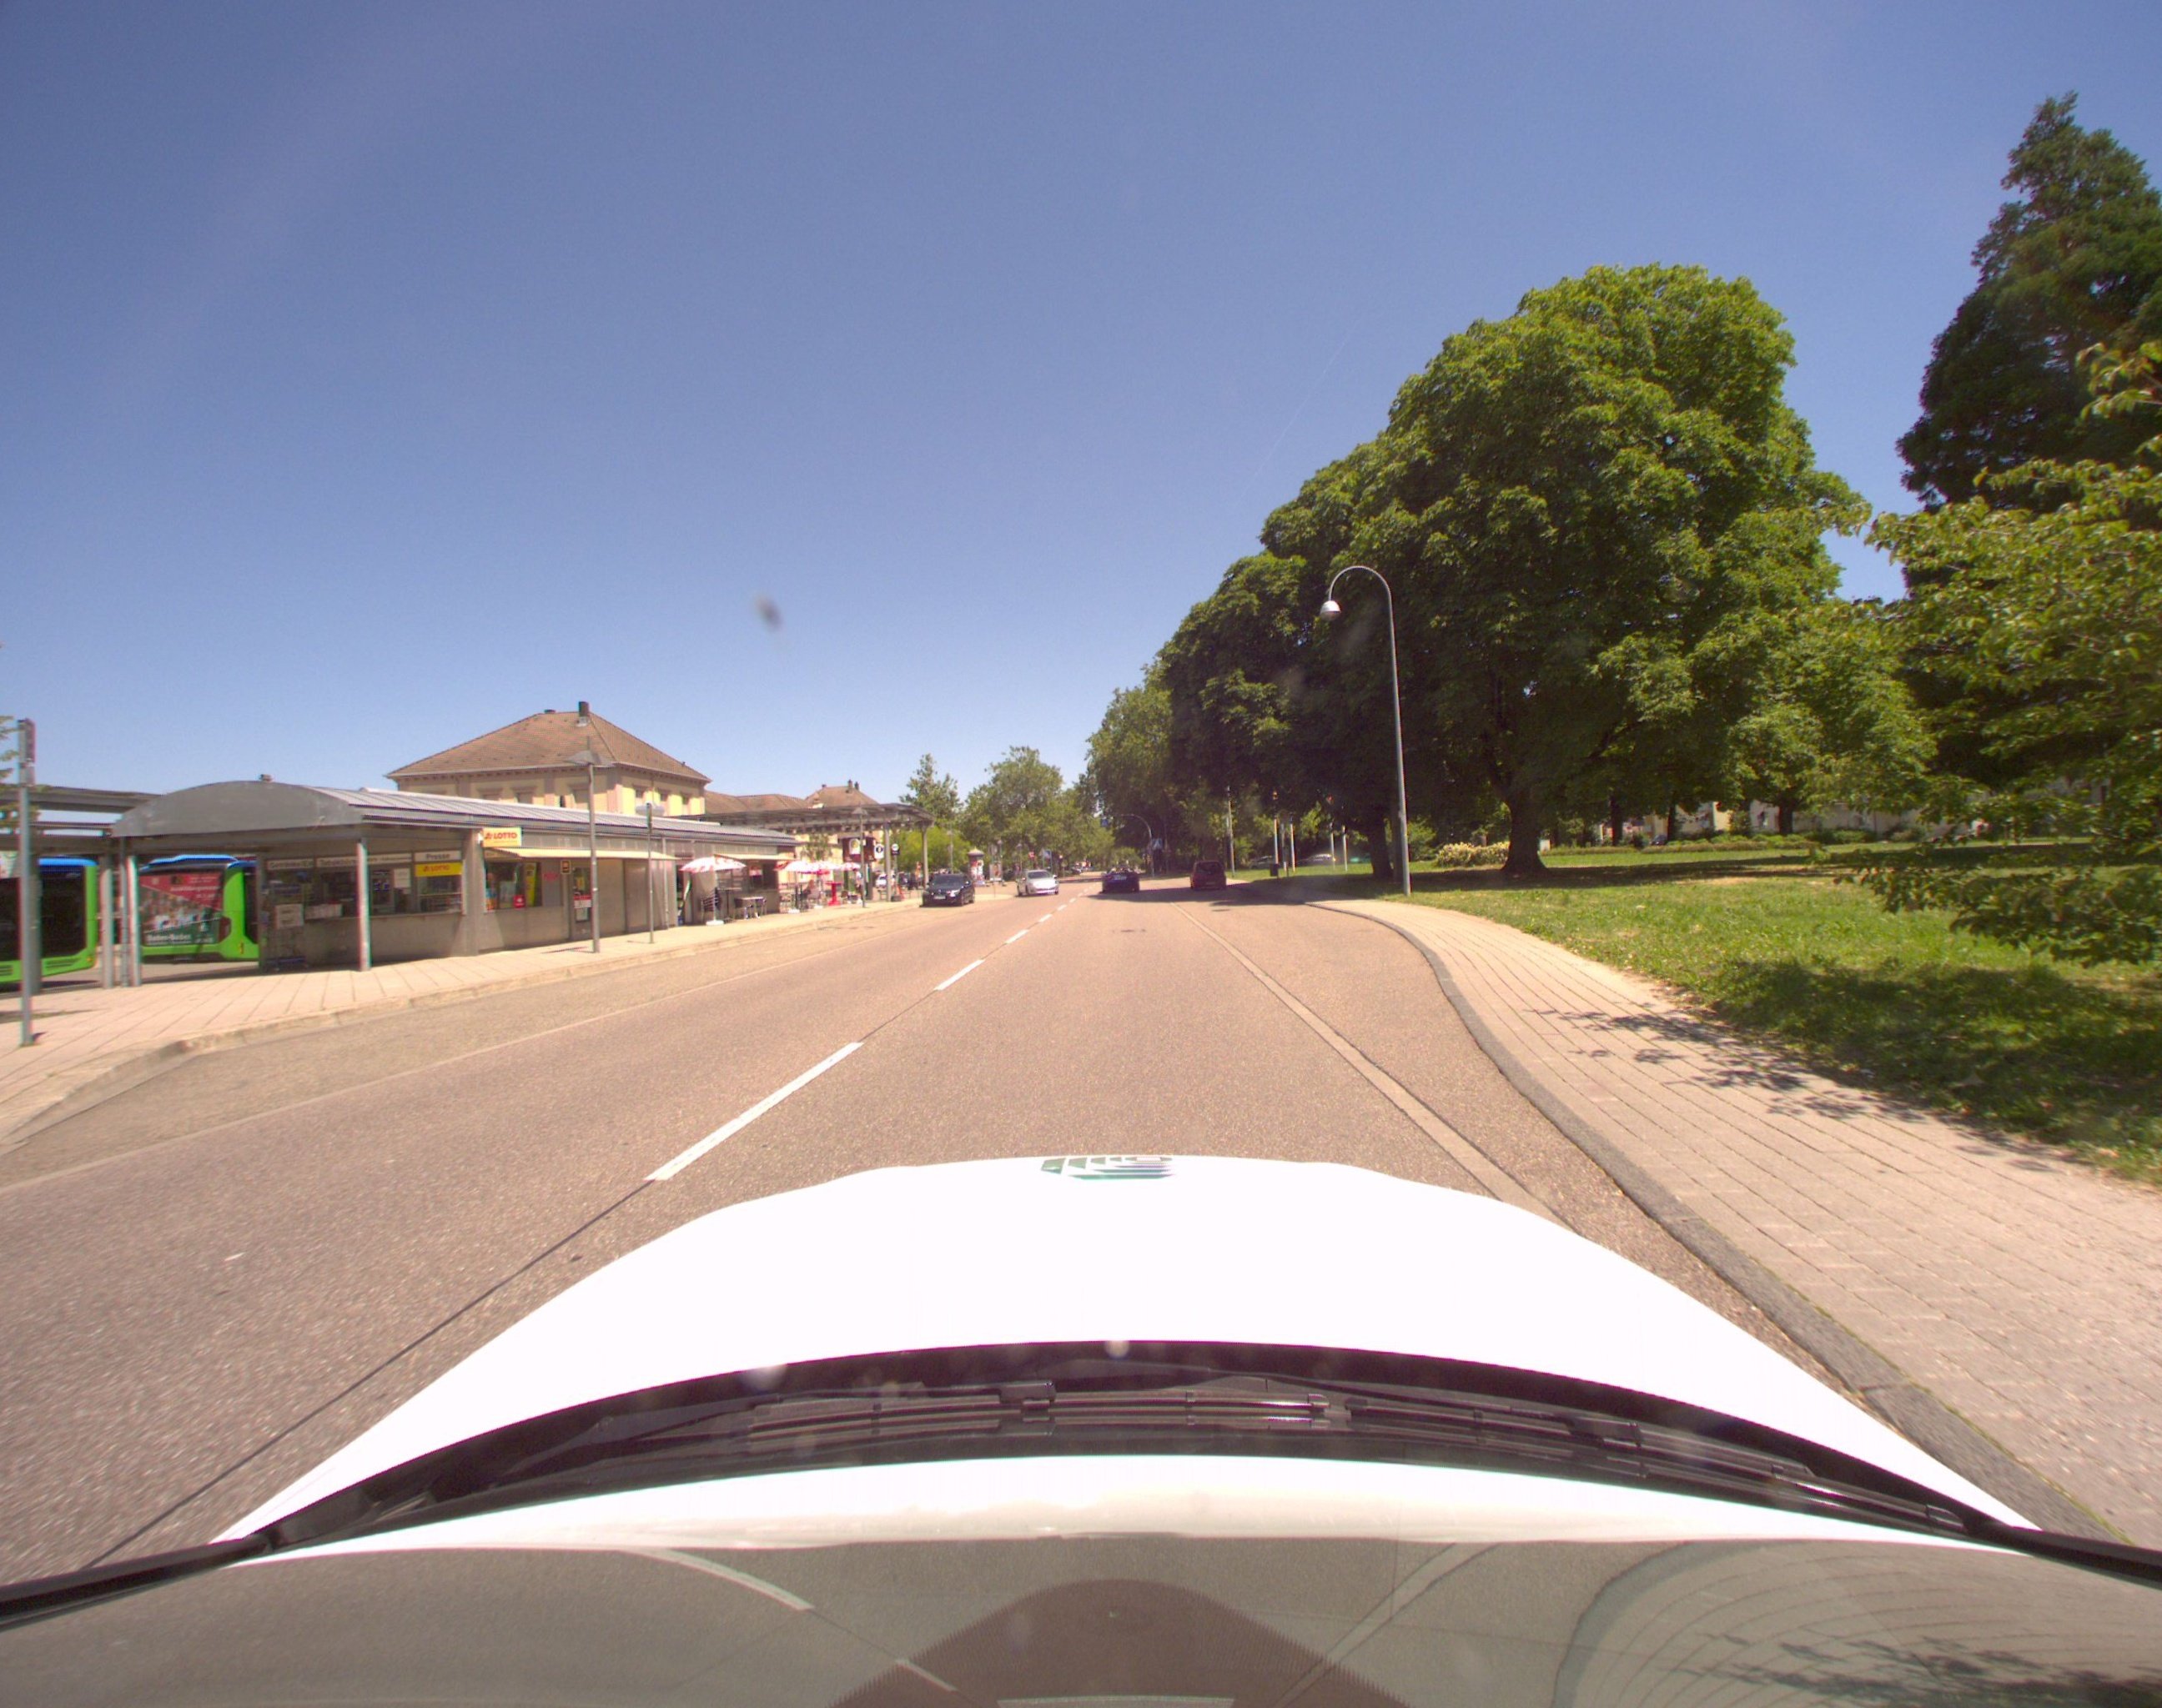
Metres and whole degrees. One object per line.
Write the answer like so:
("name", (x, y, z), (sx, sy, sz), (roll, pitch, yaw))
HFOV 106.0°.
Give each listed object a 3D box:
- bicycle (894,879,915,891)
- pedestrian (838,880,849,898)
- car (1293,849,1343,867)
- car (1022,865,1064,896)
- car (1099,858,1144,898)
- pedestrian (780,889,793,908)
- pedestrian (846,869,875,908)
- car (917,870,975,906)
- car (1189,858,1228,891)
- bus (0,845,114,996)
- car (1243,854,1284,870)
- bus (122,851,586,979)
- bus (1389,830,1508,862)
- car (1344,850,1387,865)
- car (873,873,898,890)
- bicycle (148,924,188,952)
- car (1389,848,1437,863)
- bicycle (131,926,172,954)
("bicycle", (-16.146, 2.869, 74.625), (1.799, 1.031, 0.485), (-2, -2, -21))
("pedestrian", (-21.904, 3.232, 75.036), (0.661, 1.673, 0.623), (0, -4, -43))
("car", (25.435, 0.459, 87.408), (4.799, 1.607, 2.004), (-3, -1, 6))
("car", (-2.058, 1.458, 45.606), (1.807, 1.444, 4.162), (-6, 0, 3))
("car", (2.118, 1.219, 41.830), (2.115, 1.848, 4.052), (-2, -1, 4))
("pedestrian", (-14.918, 2.257, 41.277), (0.421, 0.972, 0.373), (-4, -3, 15))
("pedestrian", (-10.868, 1.691, 40.135), (0.793, 1.828, 1.148), (-4, -3, 19))
("car", (-6.214, 1.534, 38.041), (1.712, 1.478, 4.787), (-3, -1, 2))
("car", (6.282, 0.986, 40.365), (1.709, 1.478, 3.713), (-4, -1, 7))
("bus", (-26.785, 1.548, 15.092), (2.151, 3.526, 12.243), (-3, -1, 6))
("car", (19.752, 0.889, 88.153), (4.085, 1.466, 2.003), (-3, -1, 5))
("bus", (-22.276, 1.653, 27.151), (2.665, 3.041, 13.894), (-3, -1, 1))
("bus", (41.775, -0.875, 92.849), (12.333, 2.978, 2.269), (-3, -2, 1))
("car", (30.507, 0.407, 87.370), (3.864, 1.454, 2.002), (-2, -2, 4))
("car", (-25.426, 3.582, 106.148), (1.744, 1.917, 4.779), (-3, 1, 3))
("bicycle", (-39.993, 3.673, 35.682), (1.375, 1.094, 0.386), (-3, -1, 3))
("car", (35.450, 0.184, 87.133), (4.319, 1.416, 2.001), (-2, -2, 3))
("bicycle", (-39.995, 3.688, 35.048), (1.375, 1.094, 0.386), (-3, -1, 3))
